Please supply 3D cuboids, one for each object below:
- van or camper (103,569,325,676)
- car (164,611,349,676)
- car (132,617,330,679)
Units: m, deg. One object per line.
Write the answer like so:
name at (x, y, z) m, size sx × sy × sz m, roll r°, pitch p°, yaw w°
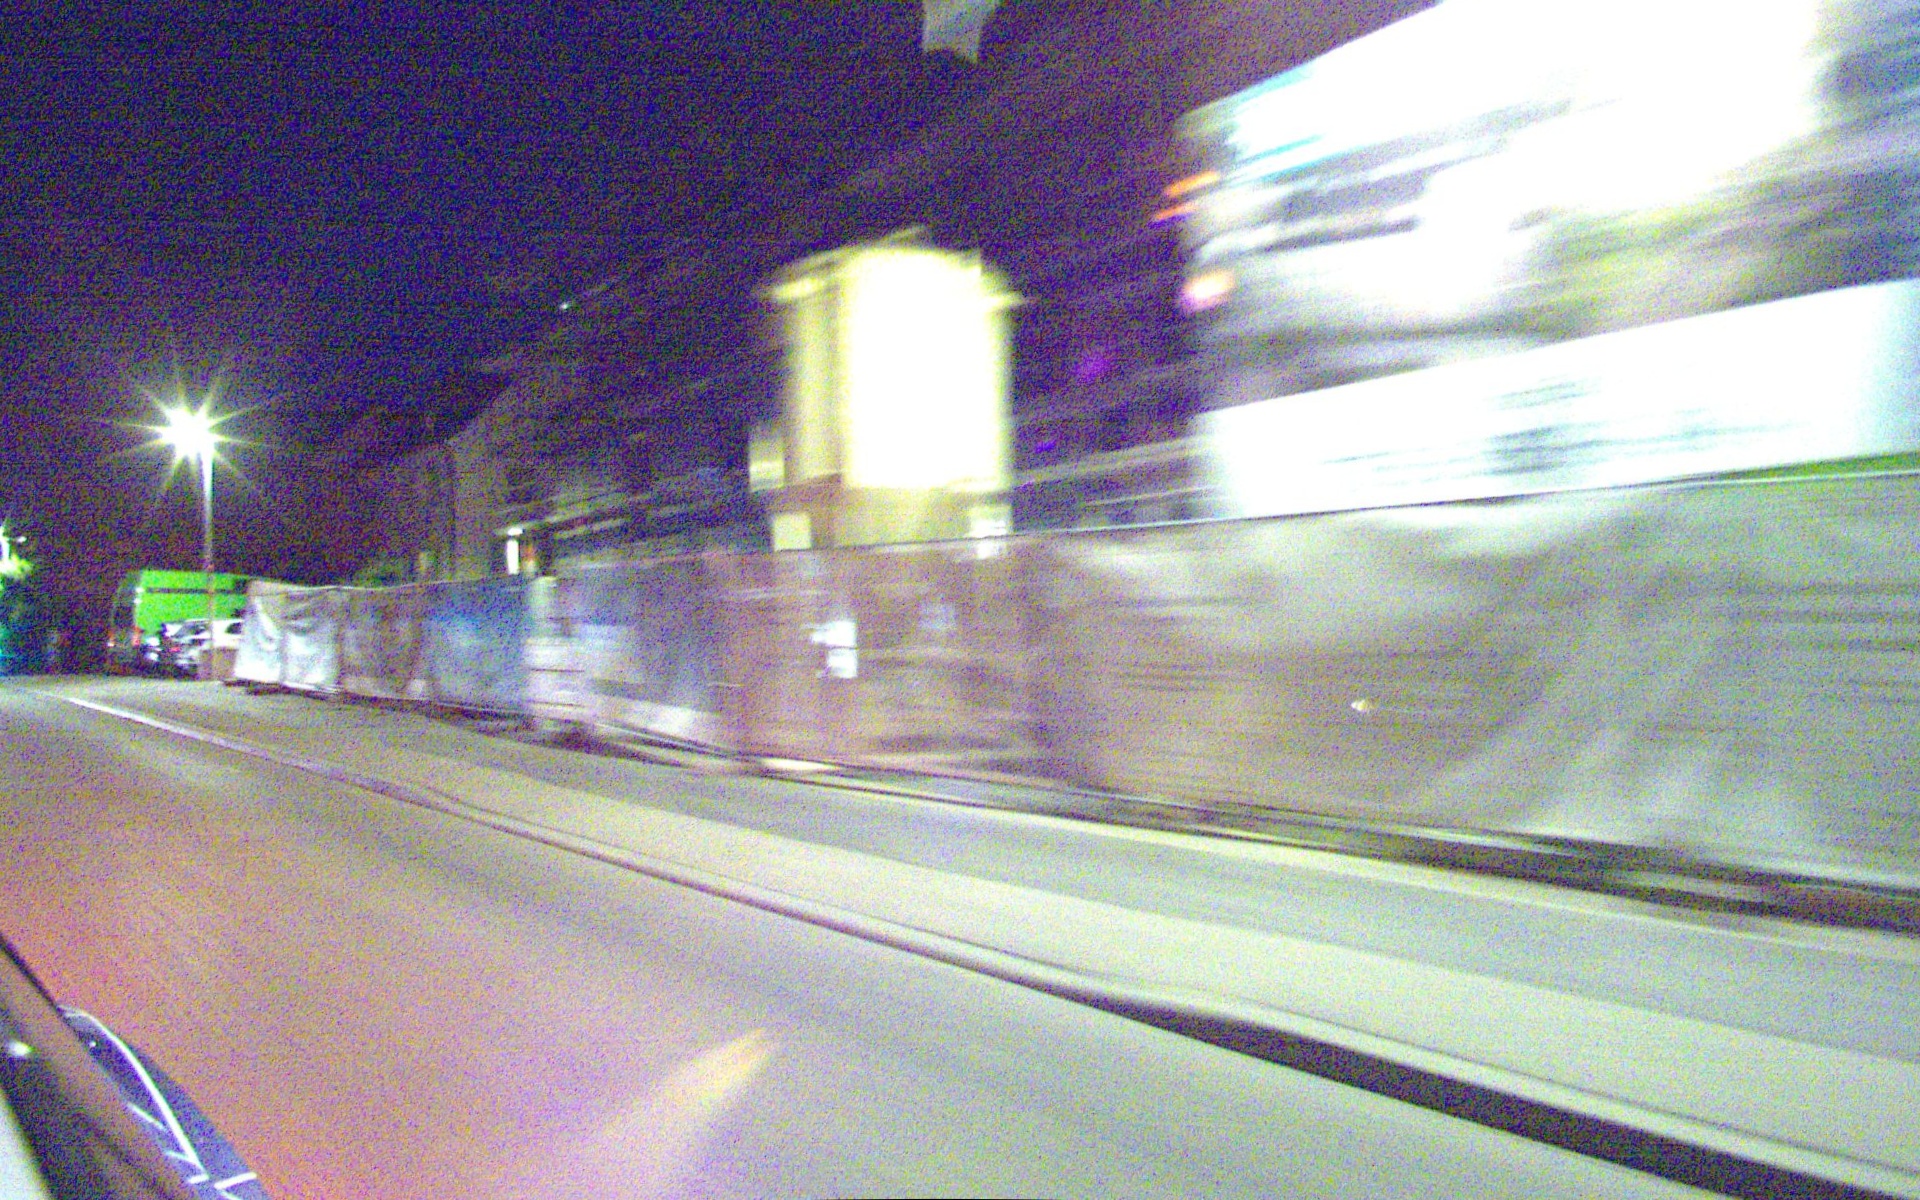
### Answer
van or camper at (-23.691, 0.685, 32.389) m, size 2.125 × 3.134 × 5.358 m, roll -1°, pitch -1°, yaw 31°
car at (-19.118, 1.156, 27.596) m, size 1.926 × 1.567 × 3.772 m, roll -4°, pitch -2°, yaw 41°
car at (-21.179, 1.341, 29.525) m, size 2.065 × 1.625 × 4.369 m, roll -2°, pitch -1°, yaw 42°
